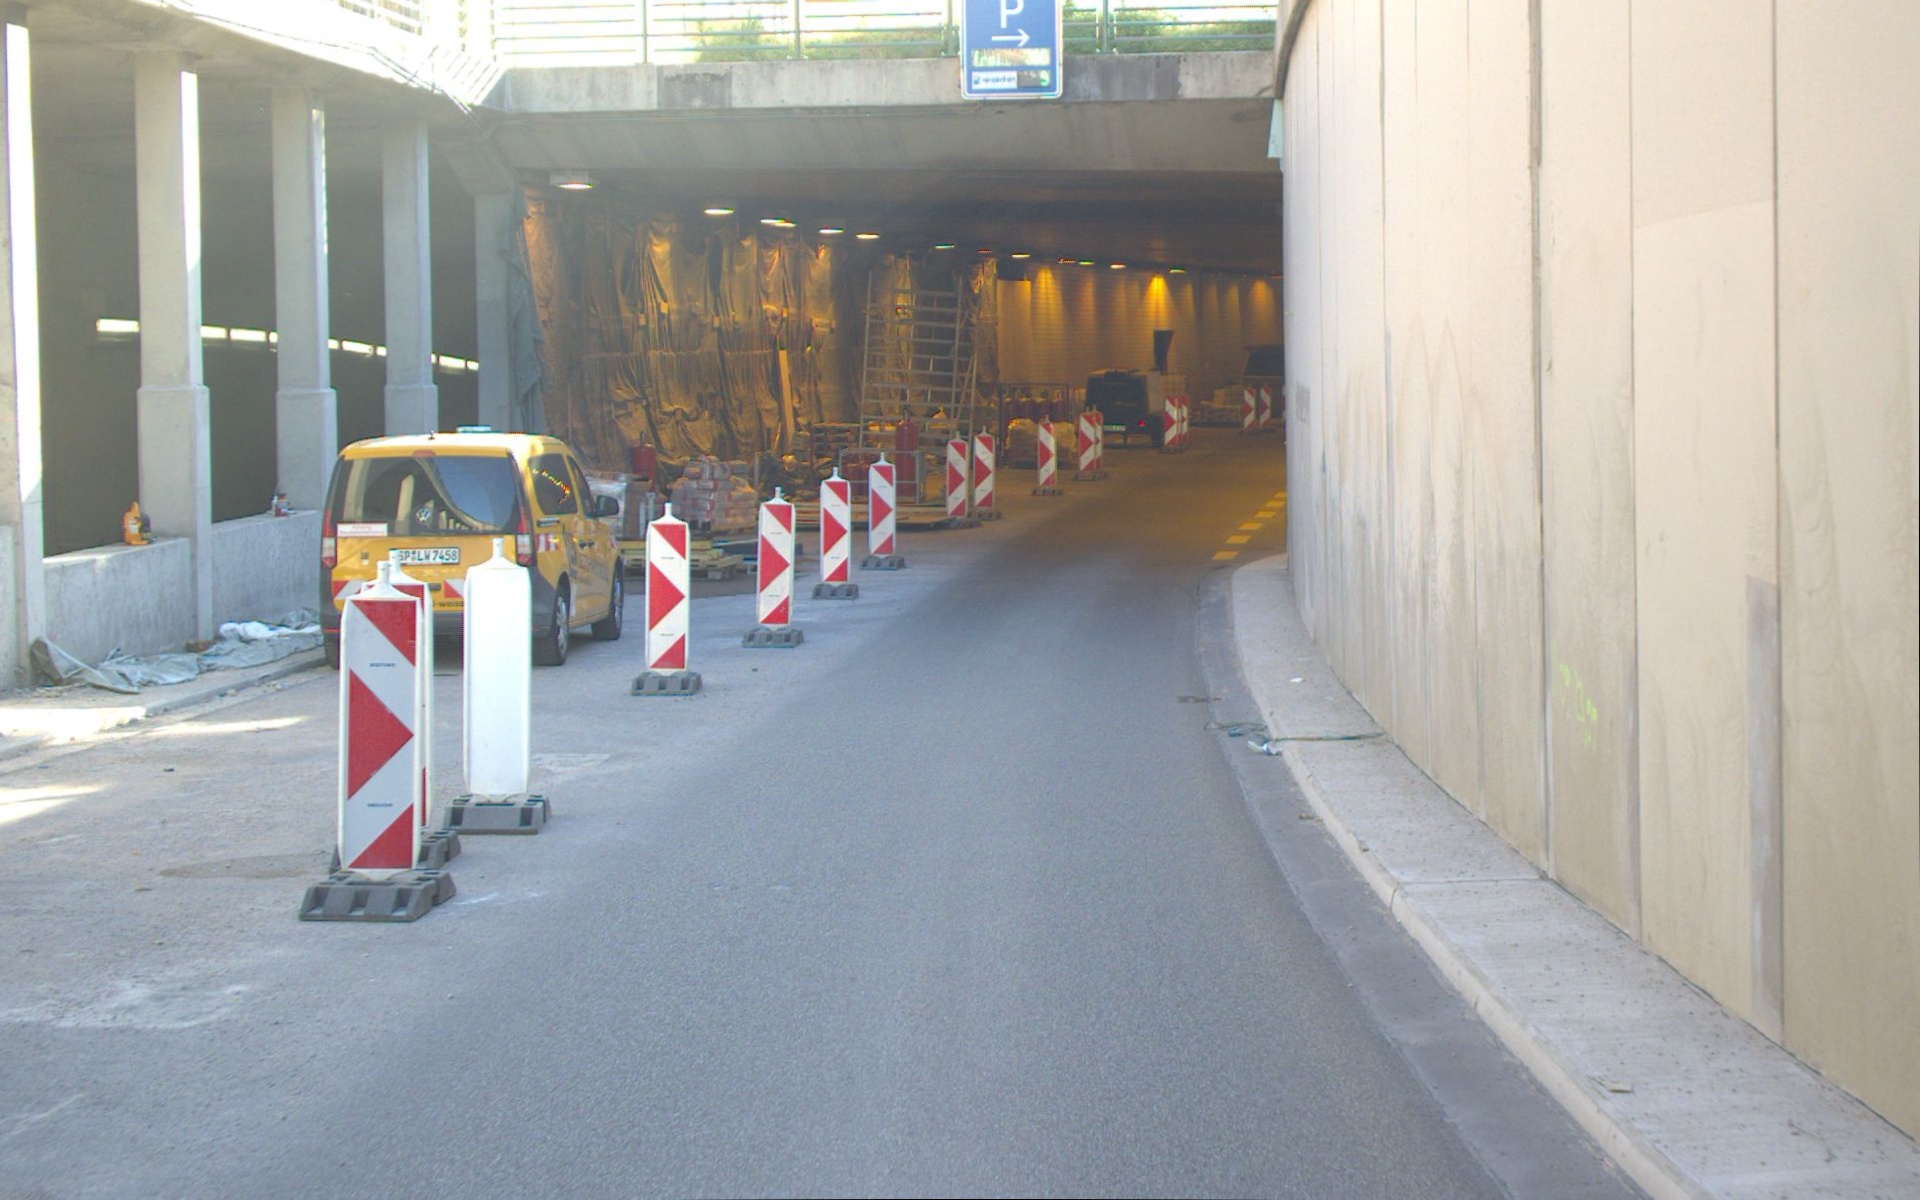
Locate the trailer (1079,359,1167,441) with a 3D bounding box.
[{"bbox_3d":[3.699,-4.546,77.768,1.581,1.791,2.939,1,4,10],"label":"trailer"}]

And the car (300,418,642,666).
[{"bbox_3d":[-3.820,-0.543,27.628,1.848,1.769,4.435,0,4,4],"label":"car"}]
